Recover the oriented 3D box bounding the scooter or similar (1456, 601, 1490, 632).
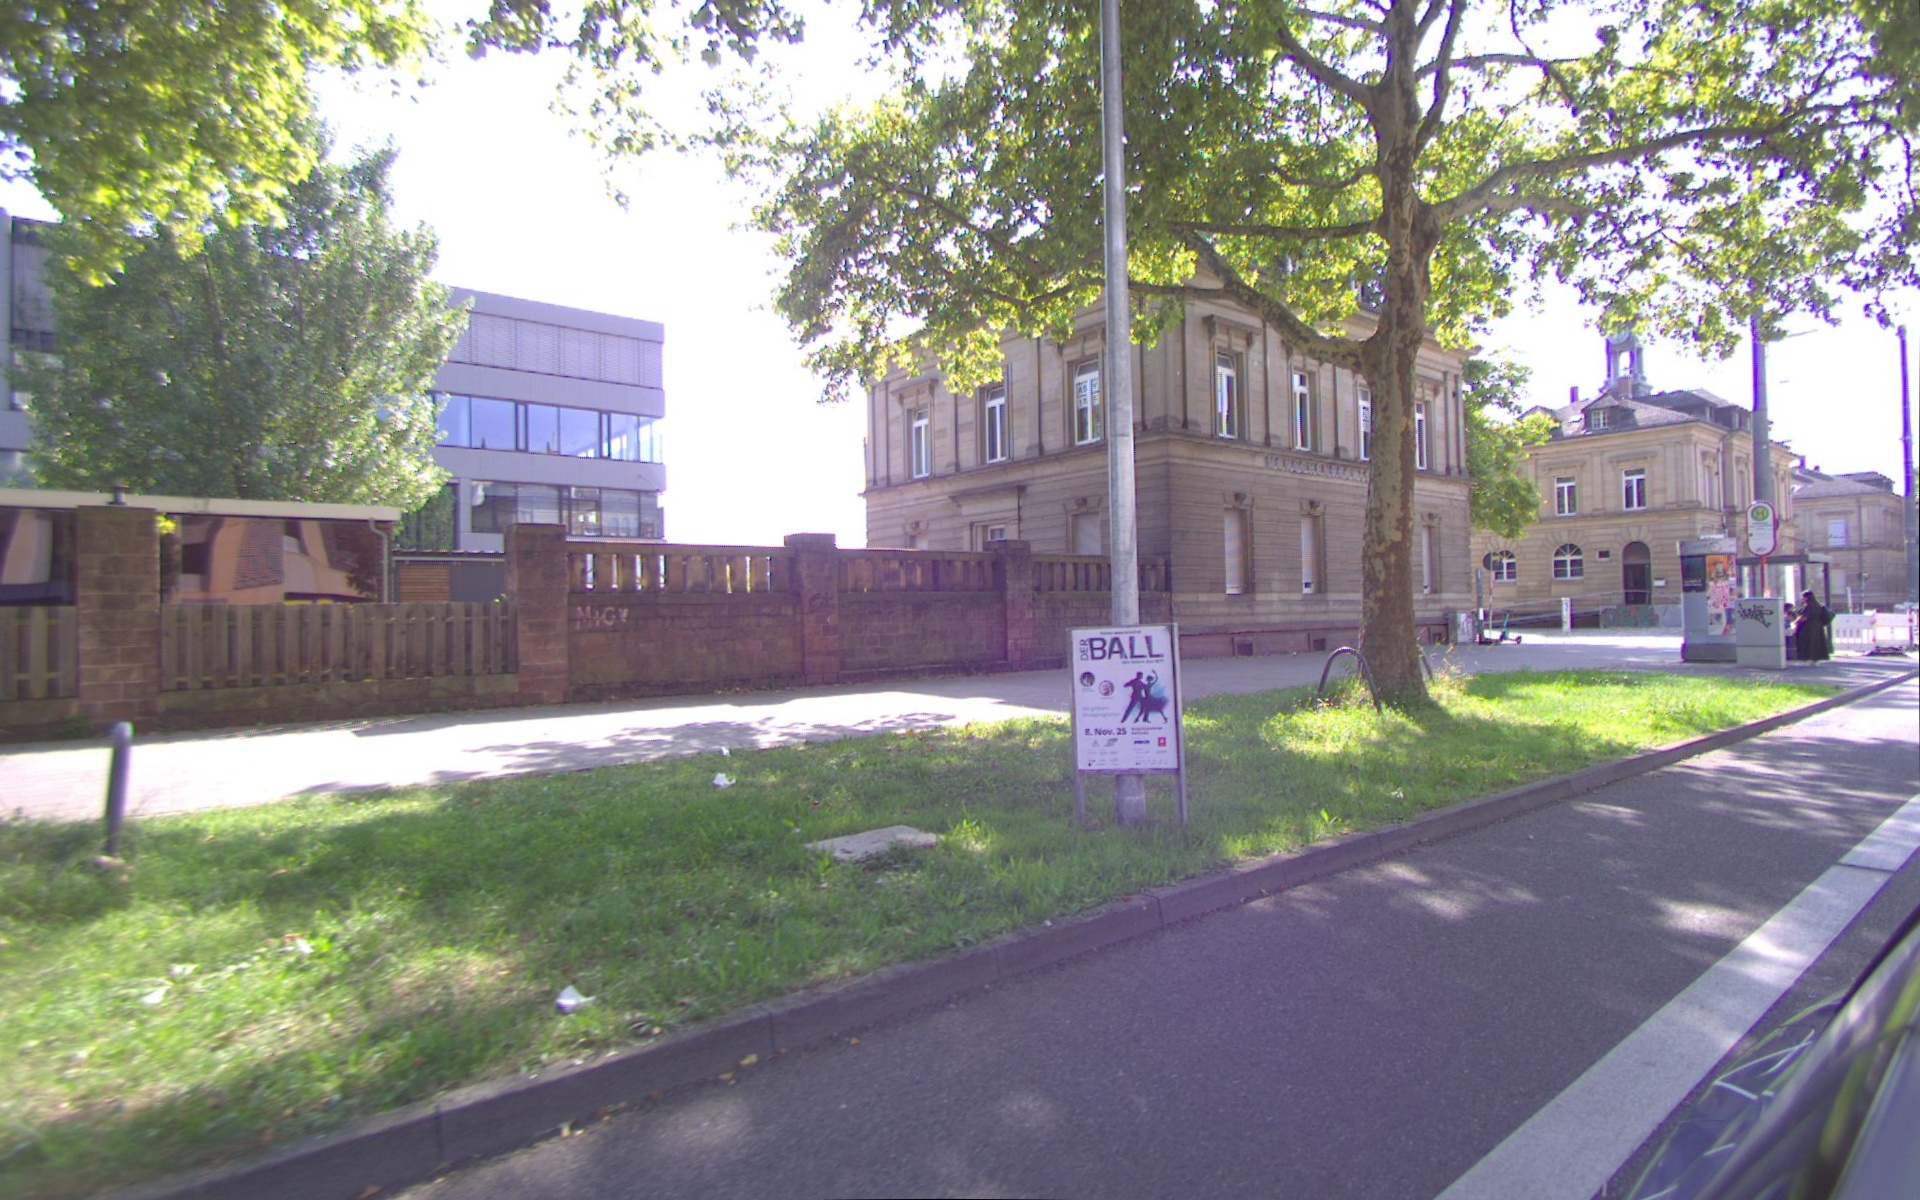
[{"bbox_3d":[19.401,0.626,38.300,0.307,1.147,1.093,0,-1,-42],"label":"scooter or similar"}]

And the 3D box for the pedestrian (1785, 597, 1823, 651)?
[{"bbox_3d":[20.589,0.575,24.693,0.746,1.293,0.609,0,0,-42],"label":"pedestrian"}]

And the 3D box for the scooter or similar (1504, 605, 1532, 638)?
[{"bbox_3d":[20.611,0.776,37.375,1.202,1.181,0.410,0,-1,-35],"label":"scooter or similar"}]

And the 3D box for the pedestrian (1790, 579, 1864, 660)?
[{"bbox_3d":[18.215,0.409,21.285,0.871,1.646,0.819,-1,-1,15],"label":"pedestrian"}]

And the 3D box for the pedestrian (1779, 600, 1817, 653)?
[{"bbox_3d":[19.993,0.617,24.145,0.564,1.233,0.609,0,0,-41],"label":"pedestrian"}]
